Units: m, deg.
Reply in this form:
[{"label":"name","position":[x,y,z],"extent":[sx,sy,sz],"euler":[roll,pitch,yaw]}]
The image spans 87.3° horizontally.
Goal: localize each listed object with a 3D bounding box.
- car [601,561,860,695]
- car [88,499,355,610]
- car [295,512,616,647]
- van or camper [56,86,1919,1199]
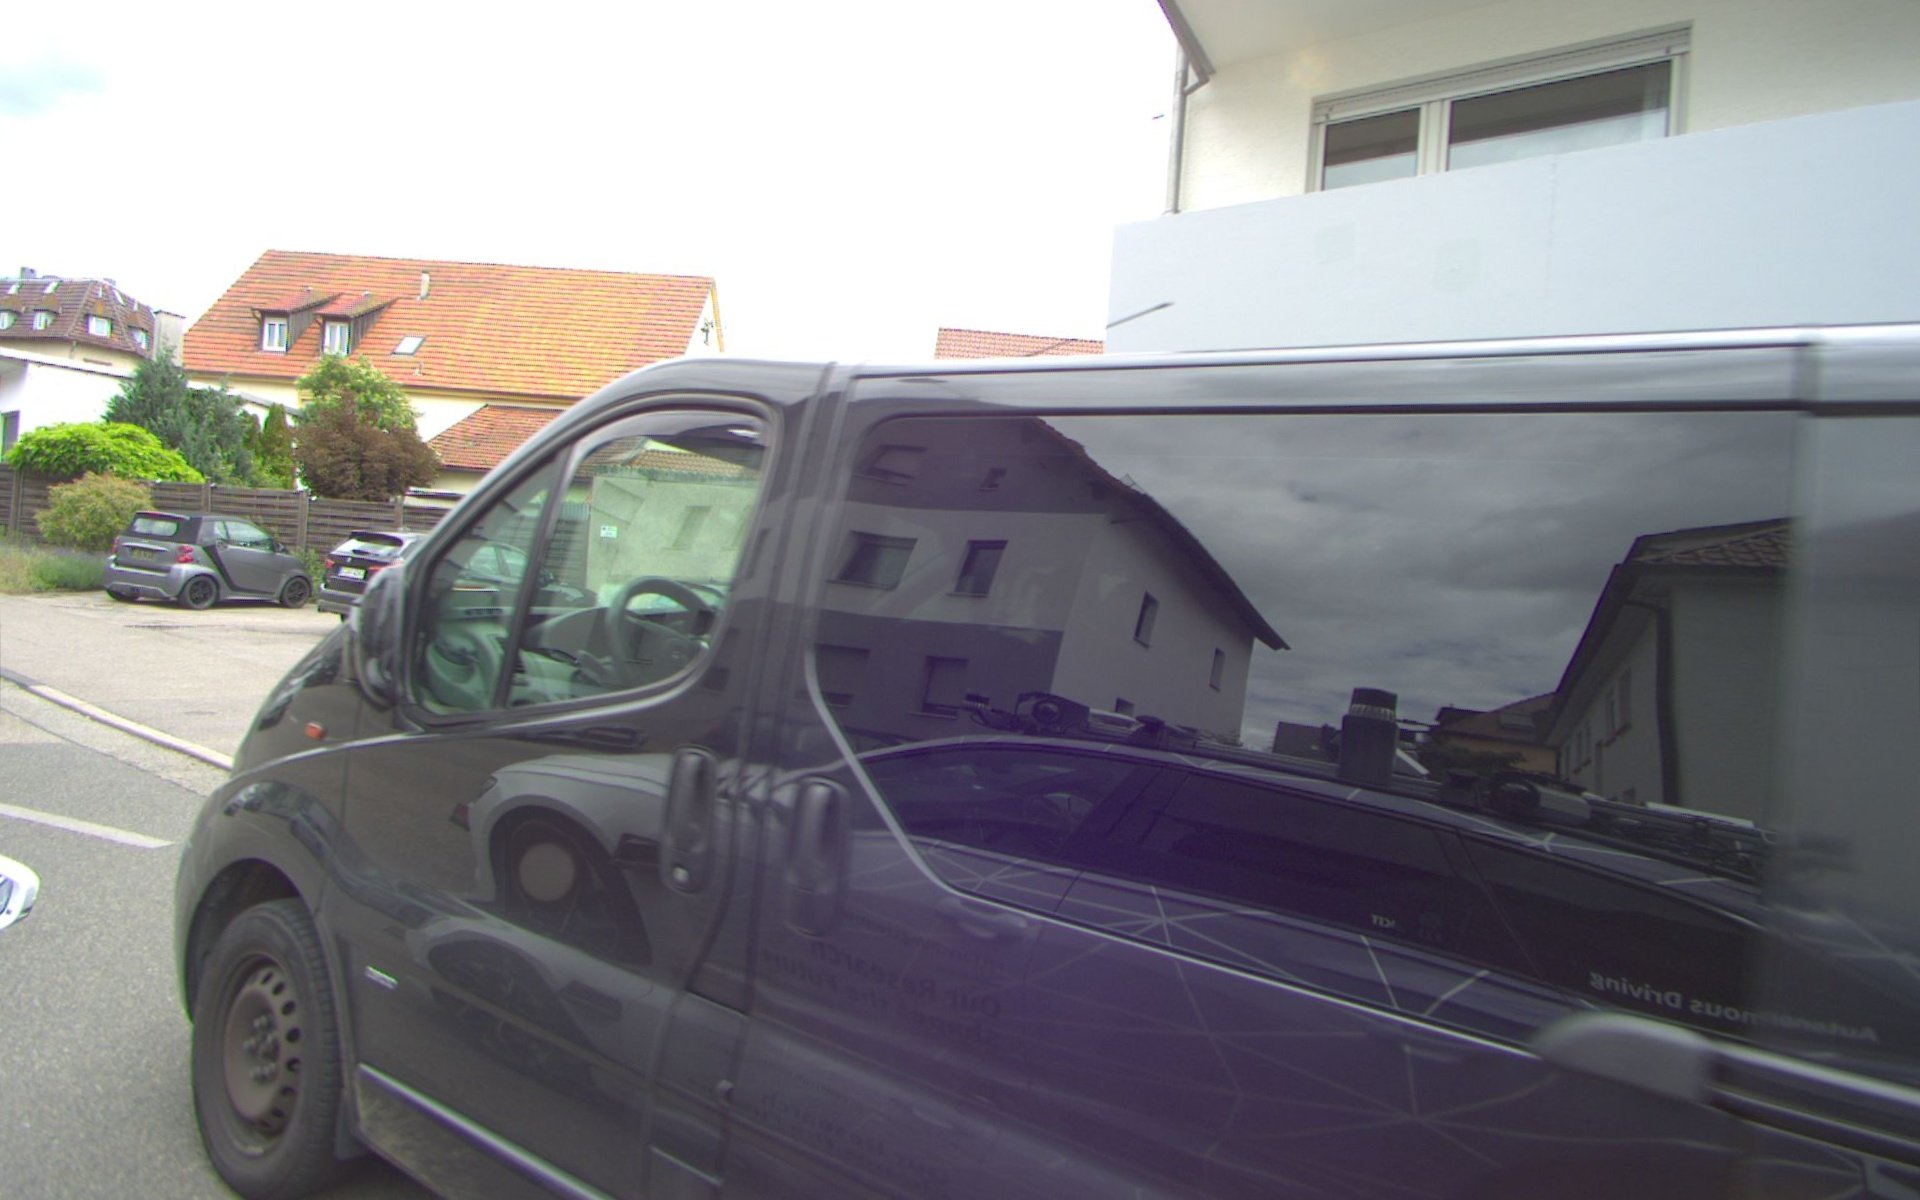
[{"label":"car","position":[-3.197,0.473,14.585],"extent":[1.697,1.504,3.321],"euler":[7,-2,31]},{"label":"car","position":[-12.412,-0.700,17.165],"extent":[1.671,1.538,3.323],"euler":[6,1,12]},{"label":"car","position":[-7.568,-0.228,15.567],"extent":[1.870,1.675,4.121],"euler":[6,1,23]},{"label":"van or camper","position":[0.364,0.568,2.247],"extent":[4.979,2.036,1.998],"euler":[6,-2,31]}]
